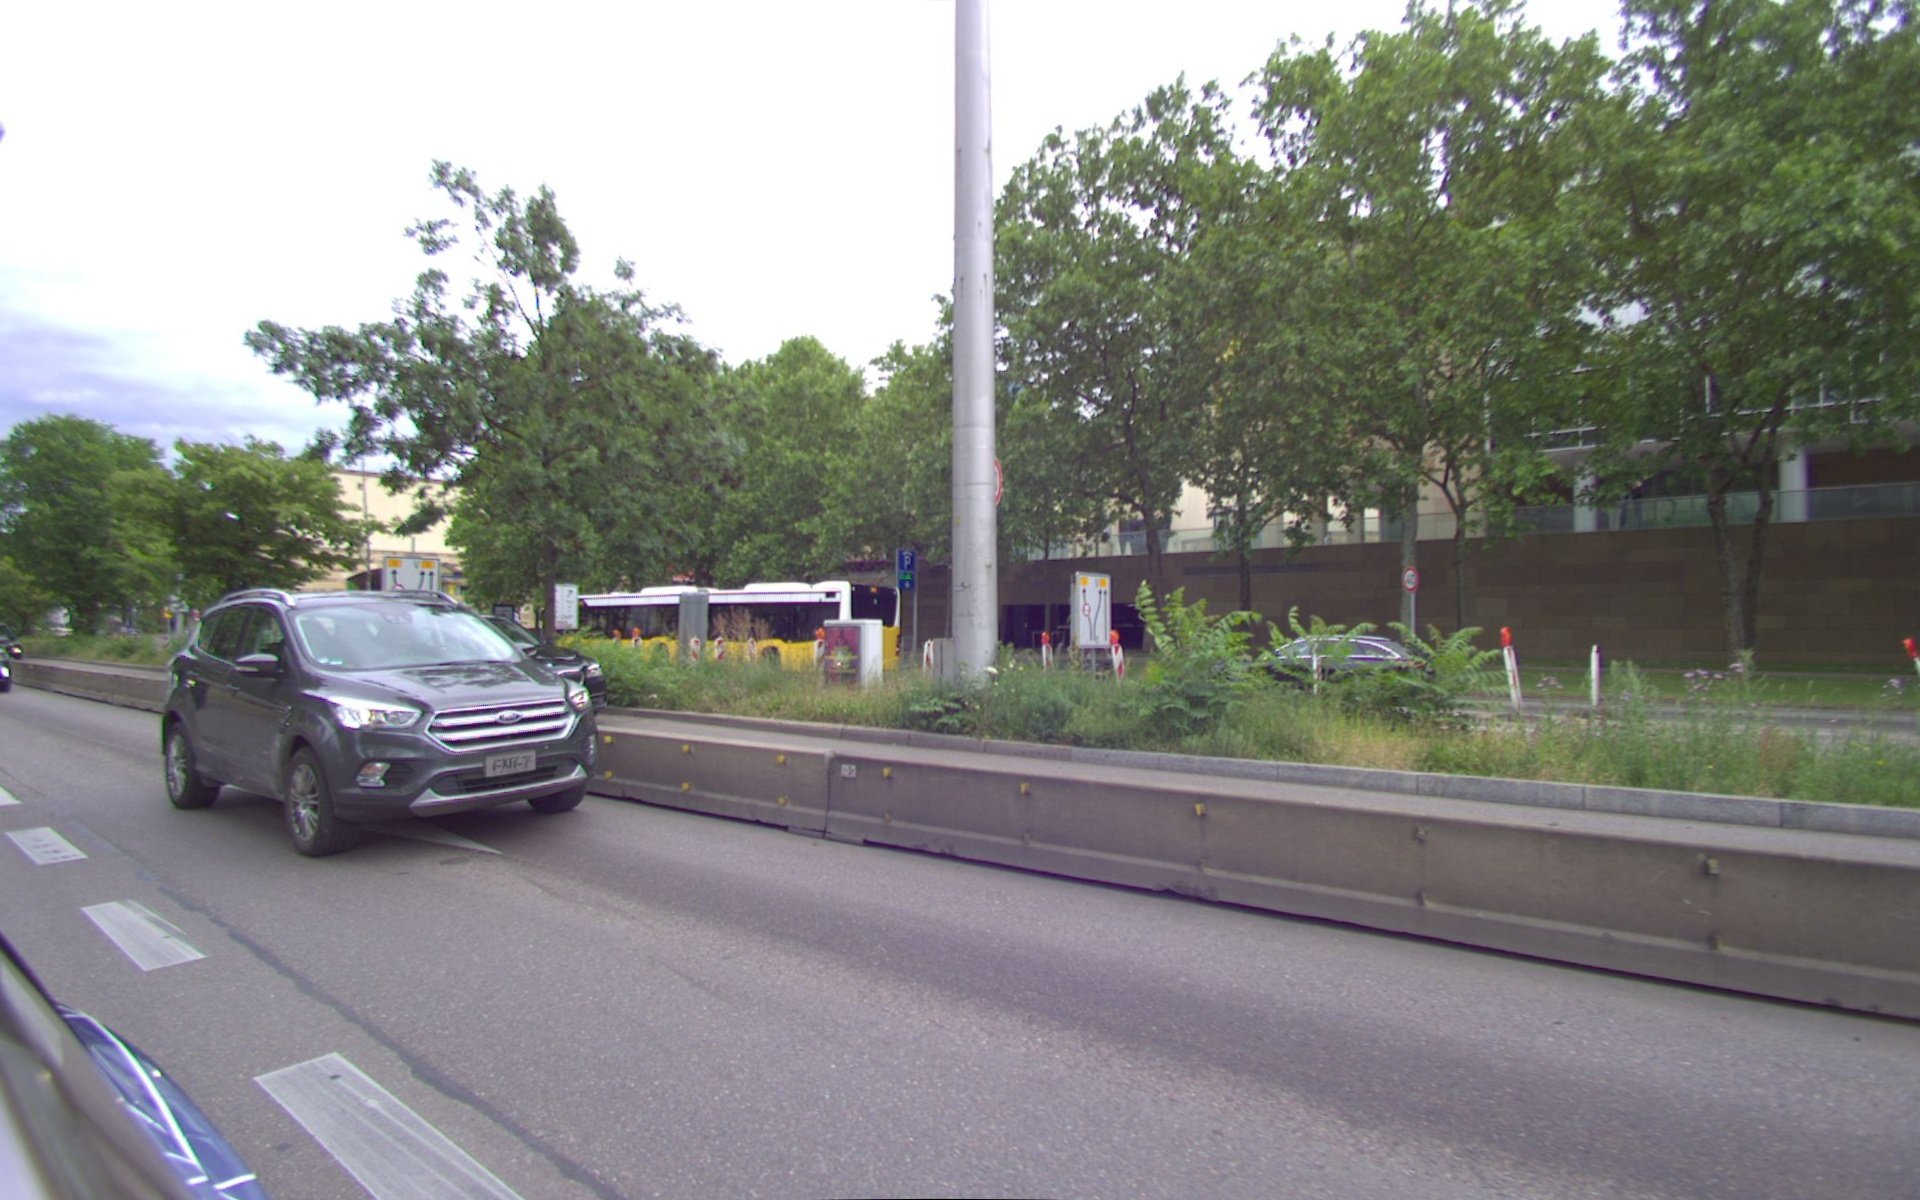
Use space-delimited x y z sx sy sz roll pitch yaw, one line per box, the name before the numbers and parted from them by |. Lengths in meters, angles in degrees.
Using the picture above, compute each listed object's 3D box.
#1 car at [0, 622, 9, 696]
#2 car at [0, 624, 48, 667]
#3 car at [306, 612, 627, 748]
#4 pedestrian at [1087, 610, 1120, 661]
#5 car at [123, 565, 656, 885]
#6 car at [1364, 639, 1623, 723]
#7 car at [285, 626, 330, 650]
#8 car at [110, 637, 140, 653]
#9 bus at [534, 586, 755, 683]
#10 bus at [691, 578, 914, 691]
car | -22.026 1.264 21.863 4.150 1.527 1.744 -1 0 41
car | -35.278 1.641 37.132 4.803 1.494 1.974 -2 -2 39
car | -6.645 0.939 13.387 4.803 1.494 1.974 -2 -2 39
pedestrian | 5.406 1.341 38.078 0.987 1.869 0.714 -1 -3 39
car | -4.502 0.726 7.654 4.651 1.728 1.875 -2 -1 38
car | 9.903 1.436 18.945 3.997 1.383 1.707 -2 -3 41
car | -39.594 2.284 61.394 3.053 1.298 1.339 -1 1 39
car | -75.836 4.037 91.900 3.733 1.298 1.339 -1 1 39
bus | -12.425 1.279 39.111 10.438 3.330 2.884 -1 -2 39
bus | -5.342 1.104 33.389 7.698 3.329 2.894 -1 -2 39
